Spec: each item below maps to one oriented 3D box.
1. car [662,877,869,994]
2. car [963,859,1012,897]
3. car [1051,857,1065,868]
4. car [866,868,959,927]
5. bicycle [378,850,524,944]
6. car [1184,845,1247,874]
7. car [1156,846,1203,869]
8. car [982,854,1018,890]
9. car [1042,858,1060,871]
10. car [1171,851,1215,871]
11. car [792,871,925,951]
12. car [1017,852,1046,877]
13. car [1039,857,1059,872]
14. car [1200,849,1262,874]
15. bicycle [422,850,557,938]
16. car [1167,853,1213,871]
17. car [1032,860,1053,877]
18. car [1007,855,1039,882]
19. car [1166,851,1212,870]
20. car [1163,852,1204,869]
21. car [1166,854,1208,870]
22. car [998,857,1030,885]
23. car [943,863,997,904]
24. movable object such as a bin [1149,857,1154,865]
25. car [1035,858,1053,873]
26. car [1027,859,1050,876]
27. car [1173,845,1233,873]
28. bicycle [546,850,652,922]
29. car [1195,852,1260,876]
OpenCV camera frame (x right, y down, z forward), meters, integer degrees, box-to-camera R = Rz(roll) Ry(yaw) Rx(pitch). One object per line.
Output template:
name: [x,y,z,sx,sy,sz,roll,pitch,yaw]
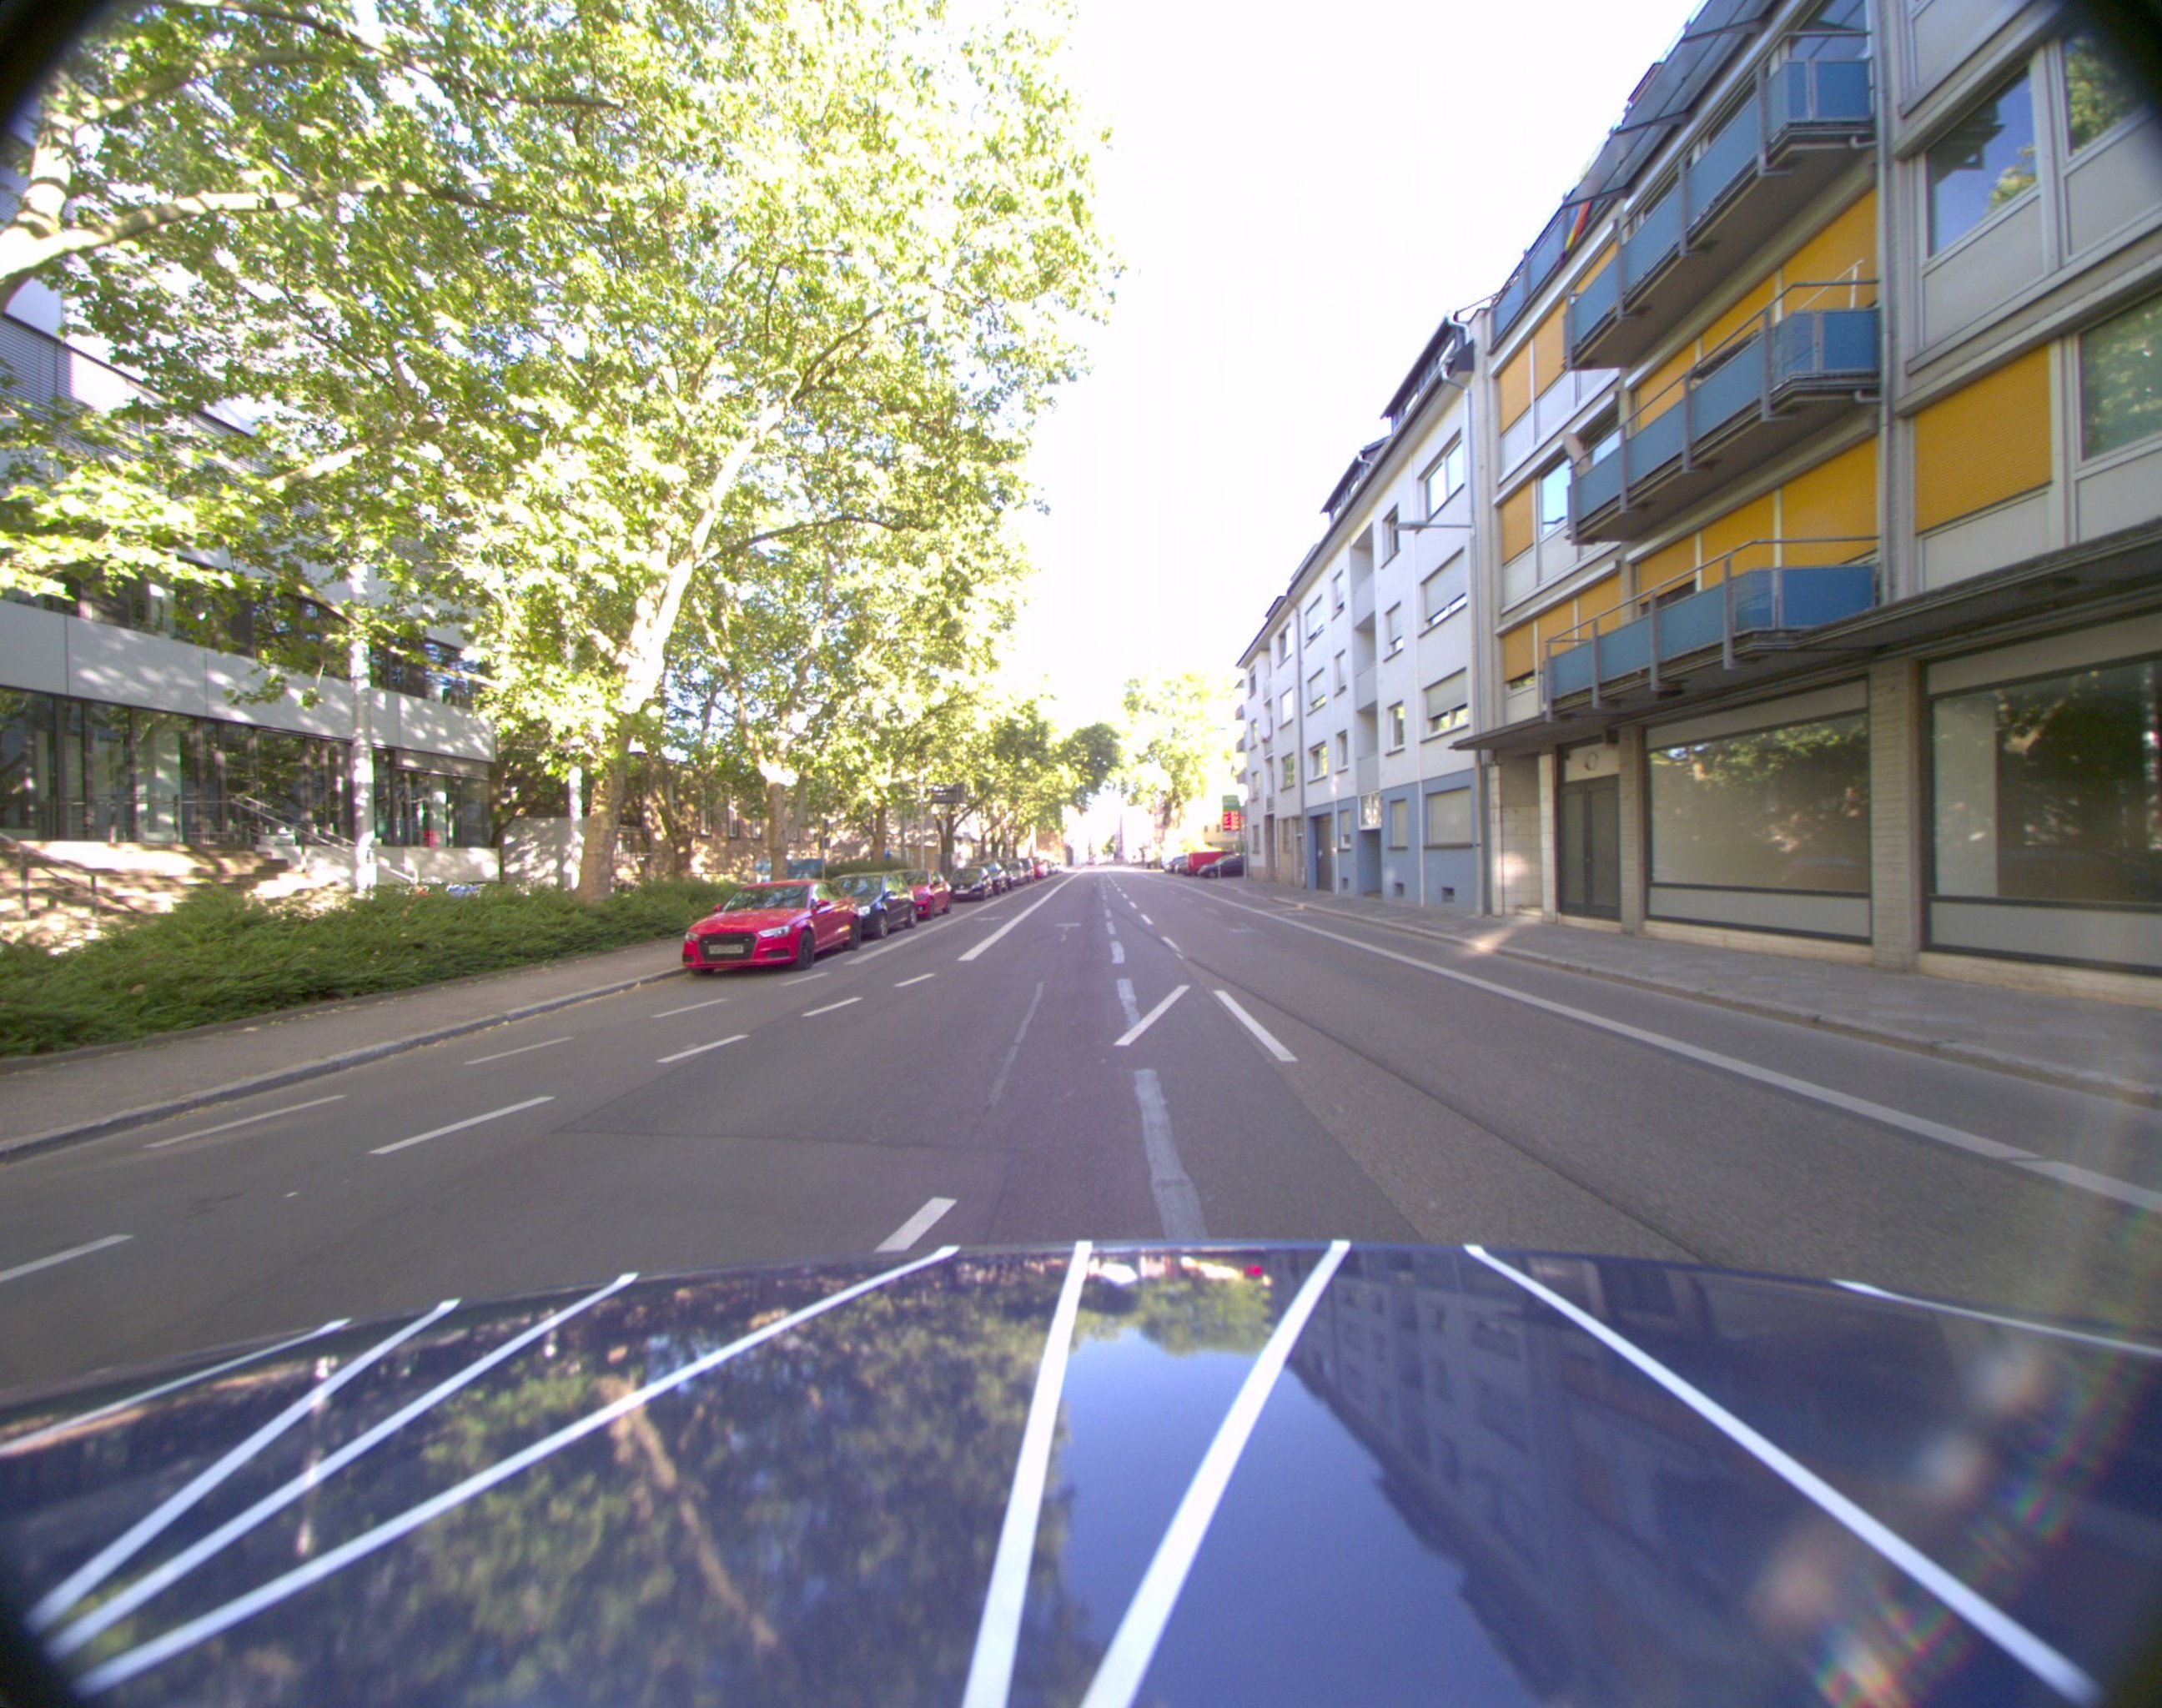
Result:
car: [-5.123,1.226,13.074,1.697,1.441,4.435,-3,0,-1]
car: [-4.556,1.121,37.620,1.780,1.618,4.620,-3,0,0]
car: [-3.124,1.120,102.789,1.860,1.428,4.969,-2,0,-2]
car: [-4.997,1.246,23.183,1.697,1.470,4.318,-3,0,1]
bicycle: [-14.009,0.948,16.942,2.604,2.002,0.742,-1,0,1]
car: [10.467,0.405,59.400,4.432,1.940,2.146,-4,0,1]
car: [10.913,0.378,84.618,4.856,2.204,2.140,-3,0,1]
car: [-4.665,1.004,43.352,1.830,1.830,4.896,-4,0,-7]
car: [-3.605,1.239,91.780,1.860,1.514,4.297,-3,0,1]
car: [10.226,0.632,69.370,3.694,1.504,1.831,-3,0,1]
car: [-5.010,1.235,17.729,1.697,1.458,4.066,-3,0,2]
car: [-4.245,0.884,66.021,2.083,1.982,5.171,-3,0,-1]
car: [-3.596,1.193,85.895,1.860,1.513,4.599,-3,0,1]
car: [11.148,0.560,56.491,4.183,1.554,1.886,-4,0,1]
bicycle: [-14.058,0.941,18.111,2.604,2.002,0.742,-1,0,1]
car: [10.233,0.747,71.557,3.997,1.447,1.916,-3,0,1]
car: [-3.832,1.384,75.373,1.860,1.502,3.929,-4,0,-1]
car: [-4.107,1.010,54.680,1.697,1.802,4.130,-3,0,3]
car: [10.683,0.615,75.284,4.204,1.674,2.028,-3,0,1]
car: [10.800,0.693,80.060,3.997,1.550,1.853,-3,0,1]
car: [10.851,0.776,77.933,3.997,1.424,1.853,-3,0,1]
car: [-4.378,1.096,50.145,1.697,1.618,4.329,-3,0,-1]
car: [-4.657,1.193,32.499,1.697,1.495,4.020,-3,0,-1]
movable object such as a bin: [10.615,1.045,114.637,0.595,1.065,0.645,-1,0,1]
car: [-3.897,1.231,79.892,1.617,1.466,3.493,-4,0,0]
car: [-3.910,1.222,70.850,1.641,1.476,3.760,-3,0,3]
car: [9.906,0.397,62.106,4.533,1.940,2.057,-4,0,1]
bicycle: [-14.029,0.926,22.158,2.604,2.002,0.742,-1,0,1]
car: [10.418,0.696,54.185,4.239,1.372,2.046,-3,1,1]
